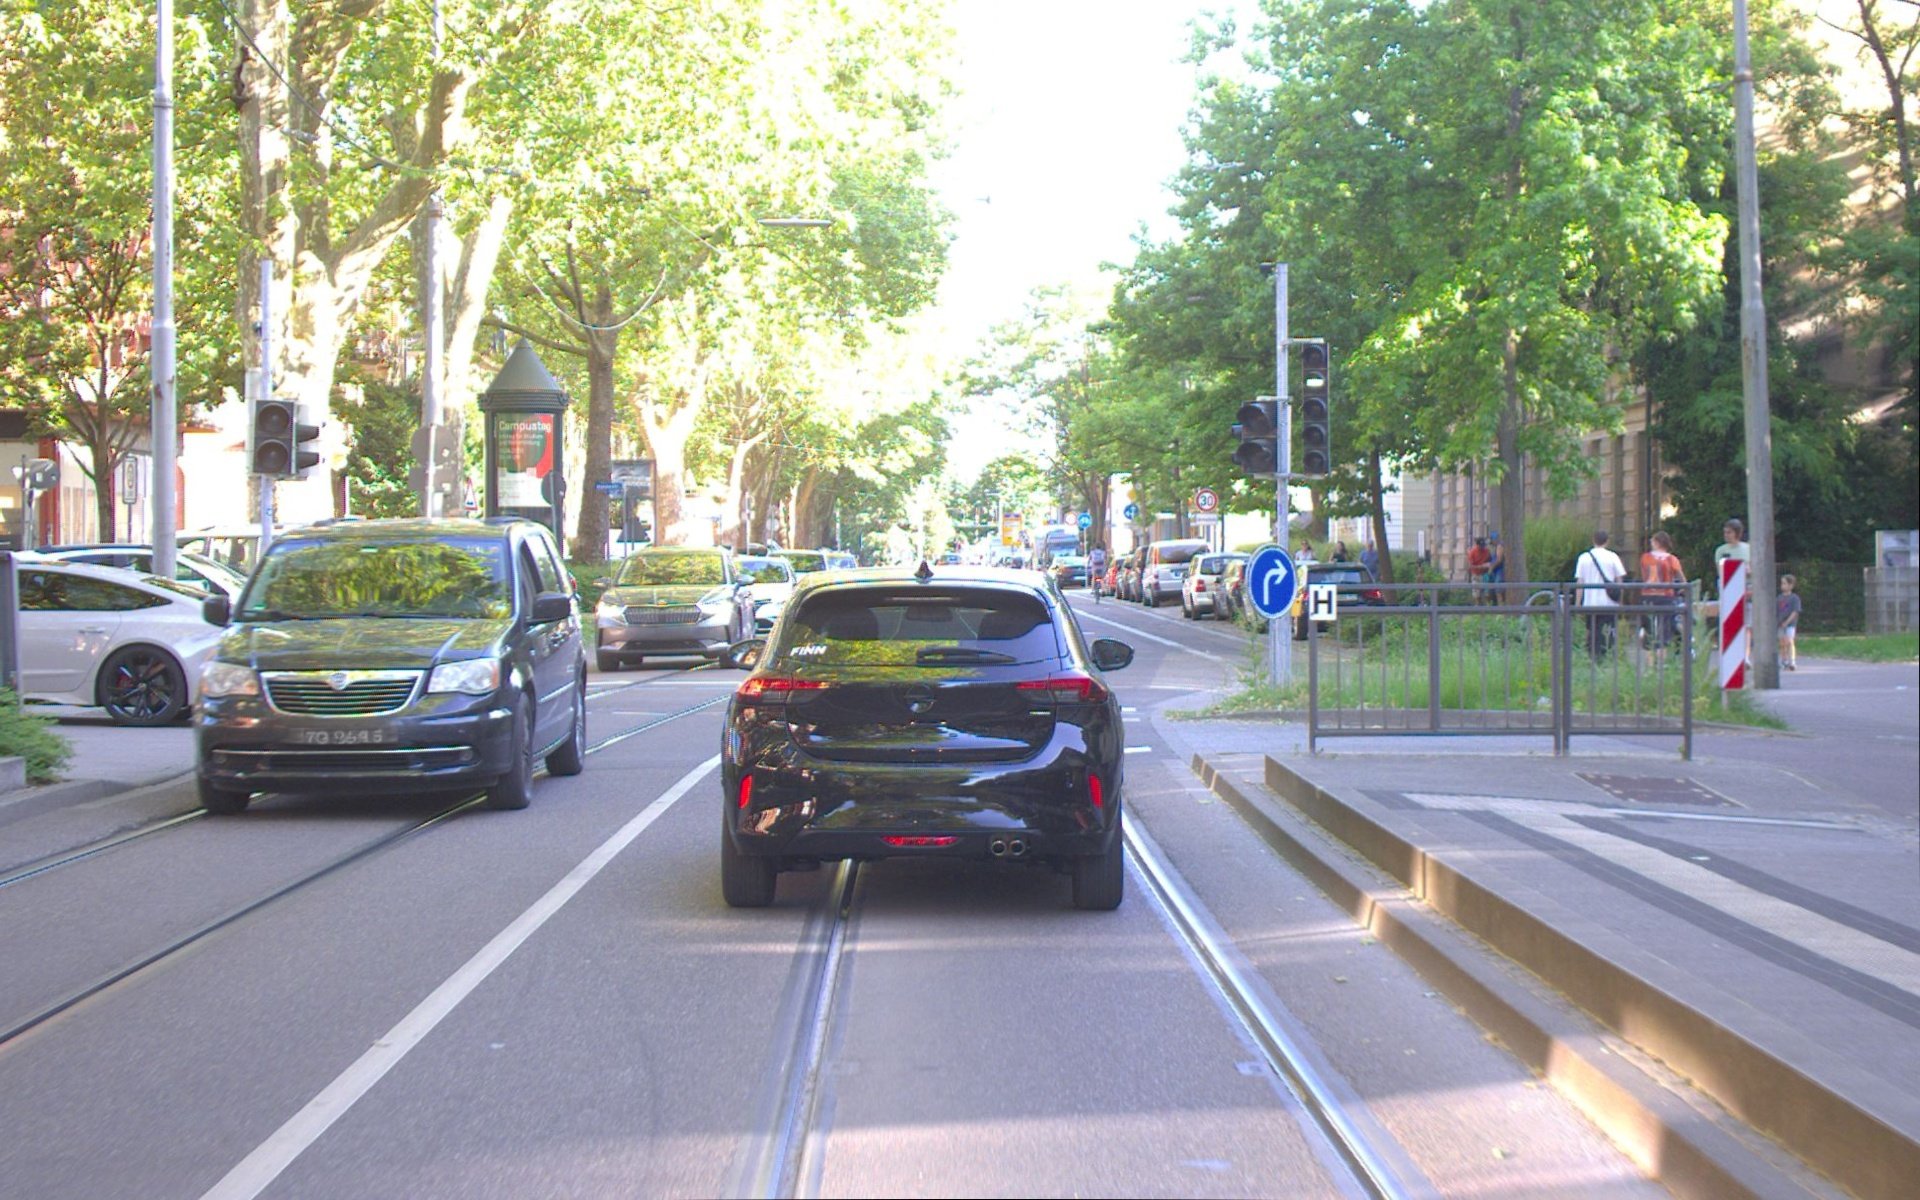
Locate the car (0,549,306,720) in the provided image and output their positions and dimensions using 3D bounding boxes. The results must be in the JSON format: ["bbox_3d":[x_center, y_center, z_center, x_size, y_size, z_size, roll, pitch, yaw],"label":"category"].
[{"bbox_3d":[-8.409,0.271,30.921,4.763,1.455,1.955,1,1,-4],"label":"car"}]

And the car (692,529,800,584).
[{"bbox_3d":[-10.386,-2.122,167.206,5.036,2.366,2.081,-3,1,0],"label":"car"}]

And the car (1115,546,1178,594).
[{"bbox_3d":[6.263,-1.015,115.773,1.712,1.509,4.037,-2,1,-2],"label":"car"}]

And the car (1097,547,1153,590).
[{"bbox_3d":[5.940,-1.148,124.258,1.702,1.418,3.978,-3,1,-1],"label":"car"}]

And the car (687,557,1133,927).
[{"bbox_3d":[-0.216,0.549,15.755,1.763,1.455,3.950,1,1,0],"label":"car"}]

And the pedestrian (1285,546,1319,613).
[{"bbox_3d":[8.709,-0.511,87.493,0.726,1.687,0.957,1,-1,-1],"label":"pedestrian"}]

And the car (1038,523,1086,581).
[{"bbox_3d":[4.960,-2.365,167.862,2.085,2.762,4.698,-1,1,-1],"label":"car"}]

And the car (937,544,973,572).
[{"bbox_3d":[-0.351,-2.769,227.396,2.254,1.834,5.531,-1,1,-1],"label":"car"}]

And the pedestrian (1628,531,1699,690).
[{"bbox_3d":[8.039,0.112,39.319,0.726,1.787,0.967,-2,1,10],"label":"pedestrian"}]

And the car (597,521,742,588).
[{"bbox_3d":[-10.243,-1.611,121.448,5.032,2.251,2.086,1,1,-4],"label":"car"}]

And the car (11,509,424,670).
[{"bbox_3d":[-8.903,-0.134,41.511,4.570,1.828,1.939,1,1,-2],"label":"car"}]

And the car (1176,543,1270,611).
[{"bbox_3d":[6.474,-0.568,84.955,1.884,1.562,4.242,-2,1,-1],"label":"car"}]

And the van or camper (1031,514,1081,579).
[{"bbox_3d":[4.855,-2.715,174.424,2.254,3.205,5.531,-1,1,-1],"label":"van or camper"}]

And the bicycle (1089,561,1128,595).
[{"bbox_3d":[4.461,-0.672,103.587,0.968,0.995,2.583,1,1,-2],"label":"bicycle"}]

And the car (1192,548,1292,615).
[{"bbox_3d":[6.562,-0.447,80.333,1.884,1.462,4.594,-2,1,0],"label":"car"}]

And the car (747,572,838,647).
[{"bbox_3d":[-3.695,0.184,76.350,1.815,1.563,4.116,-1,1,0],"label":"car"}]

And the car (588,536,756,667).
[{"bbox_3d":[-3.787,-0.002,45.808,1.908,1.632,4.321,-1,1,-1],"label":"car"}]

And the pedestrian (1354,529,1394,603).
[{"bbox_3d":[10.094,-0.838,83.773,0.598,1.787,0.728,1,1,-36],"label":"pedestrian"}]

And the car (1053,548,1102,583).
[{"bbox_3d":[5.145,-1.525,150.571,1.884,1.429,4.530,-2,1,-1],"label":"car"}]

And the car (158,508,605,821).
[{"bbox_3d":[-3.488,0.331,21.723,1.993,1.710,5.143,1,1,-1],"label":"car"}]

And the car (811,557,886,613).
[{"bbox_3d":[-3.063,-0.417,93.708,1.660,1.439,3.474,1,1,-8],"label":"car"}]

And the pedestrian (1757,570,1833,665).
[{"bbox_3d":[10.085,0.208,41.524,0.674,1.115,0.660,1,0,-8],"label":"pedestrian"}]

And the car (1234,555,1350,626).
[{"bbox_3d":[6.818,-0.214,70.917,1.884,1.363,4.107,-2,1,-1],"label":"car"}]

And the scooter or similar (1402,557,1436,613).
[{"bbox_3d":[10.300,-0.334,77.225,0.576,1.242,1.335,1,1,1],"label":"scooter or similar"}]

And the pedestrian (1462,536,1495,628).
[{"bbox_3d":[10.209,-0.351,67.665,0.599,1.787,0.728,1,0,8],"label":"pedestrian"}]

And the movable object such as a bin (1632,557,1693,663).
[{"bbox_3d":[8.216,0.106,40.223,0.639,1.198,1.304,-2,1,10],"label":"movable object such as a bin"}]

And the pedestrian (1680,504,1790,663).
[{"bbox_3d":[9.339,-0.200,41.460,0.867,1.878,0.998,1,0,-18],"label":"pedestrian"}]

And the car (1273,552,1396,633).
[{"bbox_3d":[6.948,-0.158,64.092,1.672,1.407,3.843,-2,1,-2],"label":"car"}]

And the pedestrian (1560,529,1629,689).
[{"bbox_3d":[7.235,0.099,39.214,0.726,1.787,0.853,-2,1,10],"label":"pedestrian"}]

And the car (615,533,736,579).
[{"bbox_3d":[-10.276,-1.597,124.438,4.299,1.601,1.926,1,1,-3],"label":"car"}]

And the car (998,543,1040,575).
[{"bbox_3d":[3.477,-2.439,203.111,2.254,1.834,5.531,-1,1,-1],"label":"car"}]

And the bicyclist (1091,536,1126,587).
[{"bbox_3d":[4.466,-1.161,103.563,0.958,1.494,1.094,1,0,-2],"label":"bicyclist"}]

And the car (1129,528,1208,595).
[{"bbox_3d":[6.081,-1.128,100.625,1.884,1.845,4.967,-2,1,-1],"label":"car"}]

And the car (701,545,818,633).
[{"bbox_3d":[-3.461,-0.211,60.042,1.775,1.456,4.204,1,1,0],"label":"car"}]

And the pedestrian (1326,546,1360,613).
[{"bbox_3d":[9.733,-0.524,87.354,0.726,1.703,0.856,1,0,-1],"label":"pedestrian"}]

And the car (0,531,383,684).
[{"bbox_3d":[-8.816,0.073,39.287,4.139,1.641,1.902,1,1,-2],"label":"car"}]
